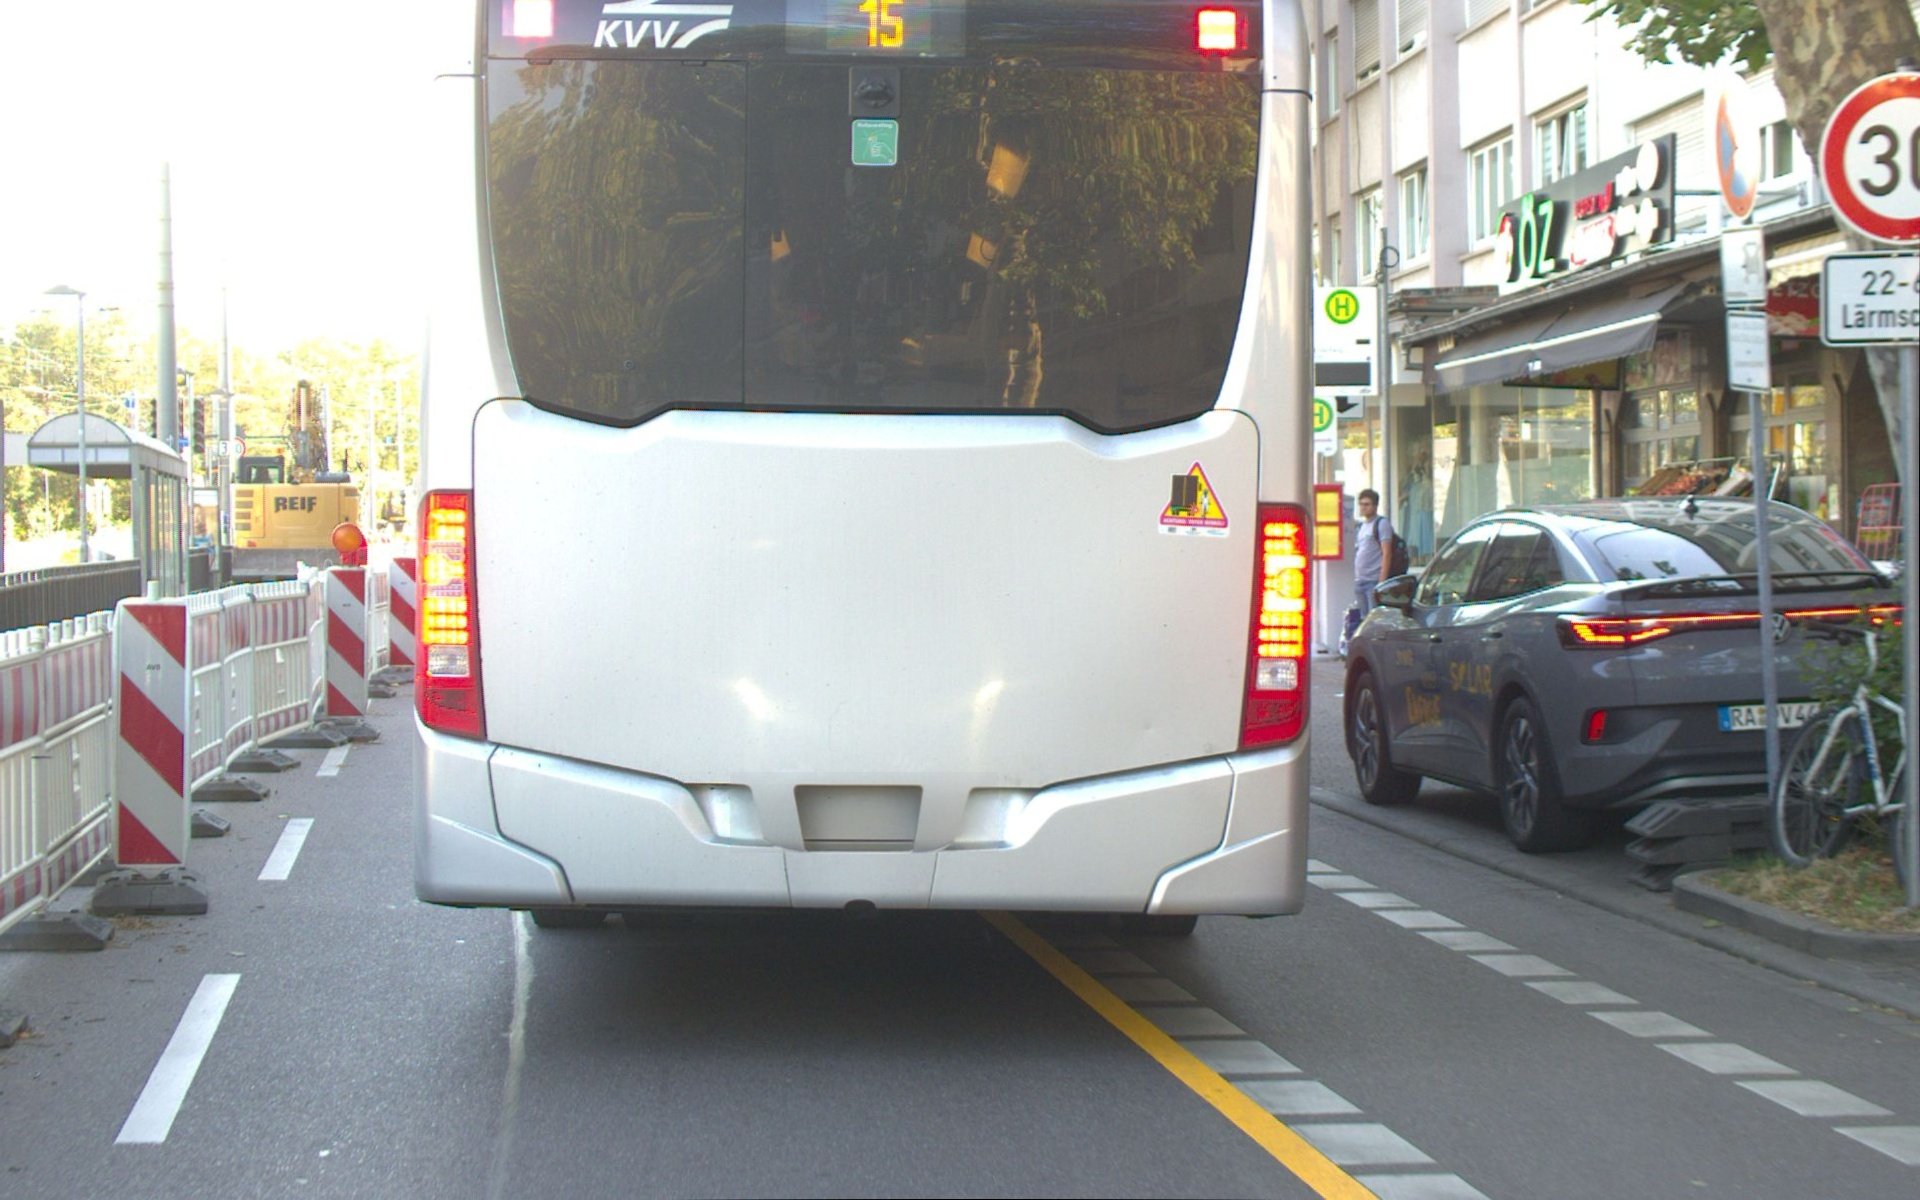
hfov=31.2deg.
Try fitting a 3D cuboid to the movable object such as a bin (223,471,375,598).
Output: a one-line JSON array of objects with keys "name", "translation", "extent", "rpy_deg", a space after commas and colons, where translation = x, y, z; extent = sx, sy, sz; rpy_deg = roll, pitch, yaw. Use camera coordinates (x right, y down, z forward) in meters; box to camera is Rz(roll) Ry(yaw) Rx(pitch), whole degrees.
[{"name": "movable object such as a bin", "translation": [-13.330, -1.339, 69.575], "extent": [2.806, 2.453, 4.001], "rpy_deg": [-1, 1, -8]}]

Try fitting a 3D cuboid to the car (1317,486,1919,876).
[{"name": "car", "translation": [3.167, 0.298, 16.963], "extent": [1.739, 1.592, 4.300], "rpy_deg": [-3, 2, -8]}]

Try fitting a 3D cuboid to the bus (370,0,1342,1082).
[{"name": "bus", "translation": [-0.410, -0.383, 14.387], "extent": [2.608, 3.159, 10.292], "rpy_deg": [0, 1, -1]}]

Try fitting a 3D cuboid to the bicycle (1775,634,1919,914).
[{"name": "bicycle", "translation": [3.471, 0.637, 12.832], "extent": [0.294, 0.924, 1.131], "rpy_deg": [-6, 5, -13]}]
